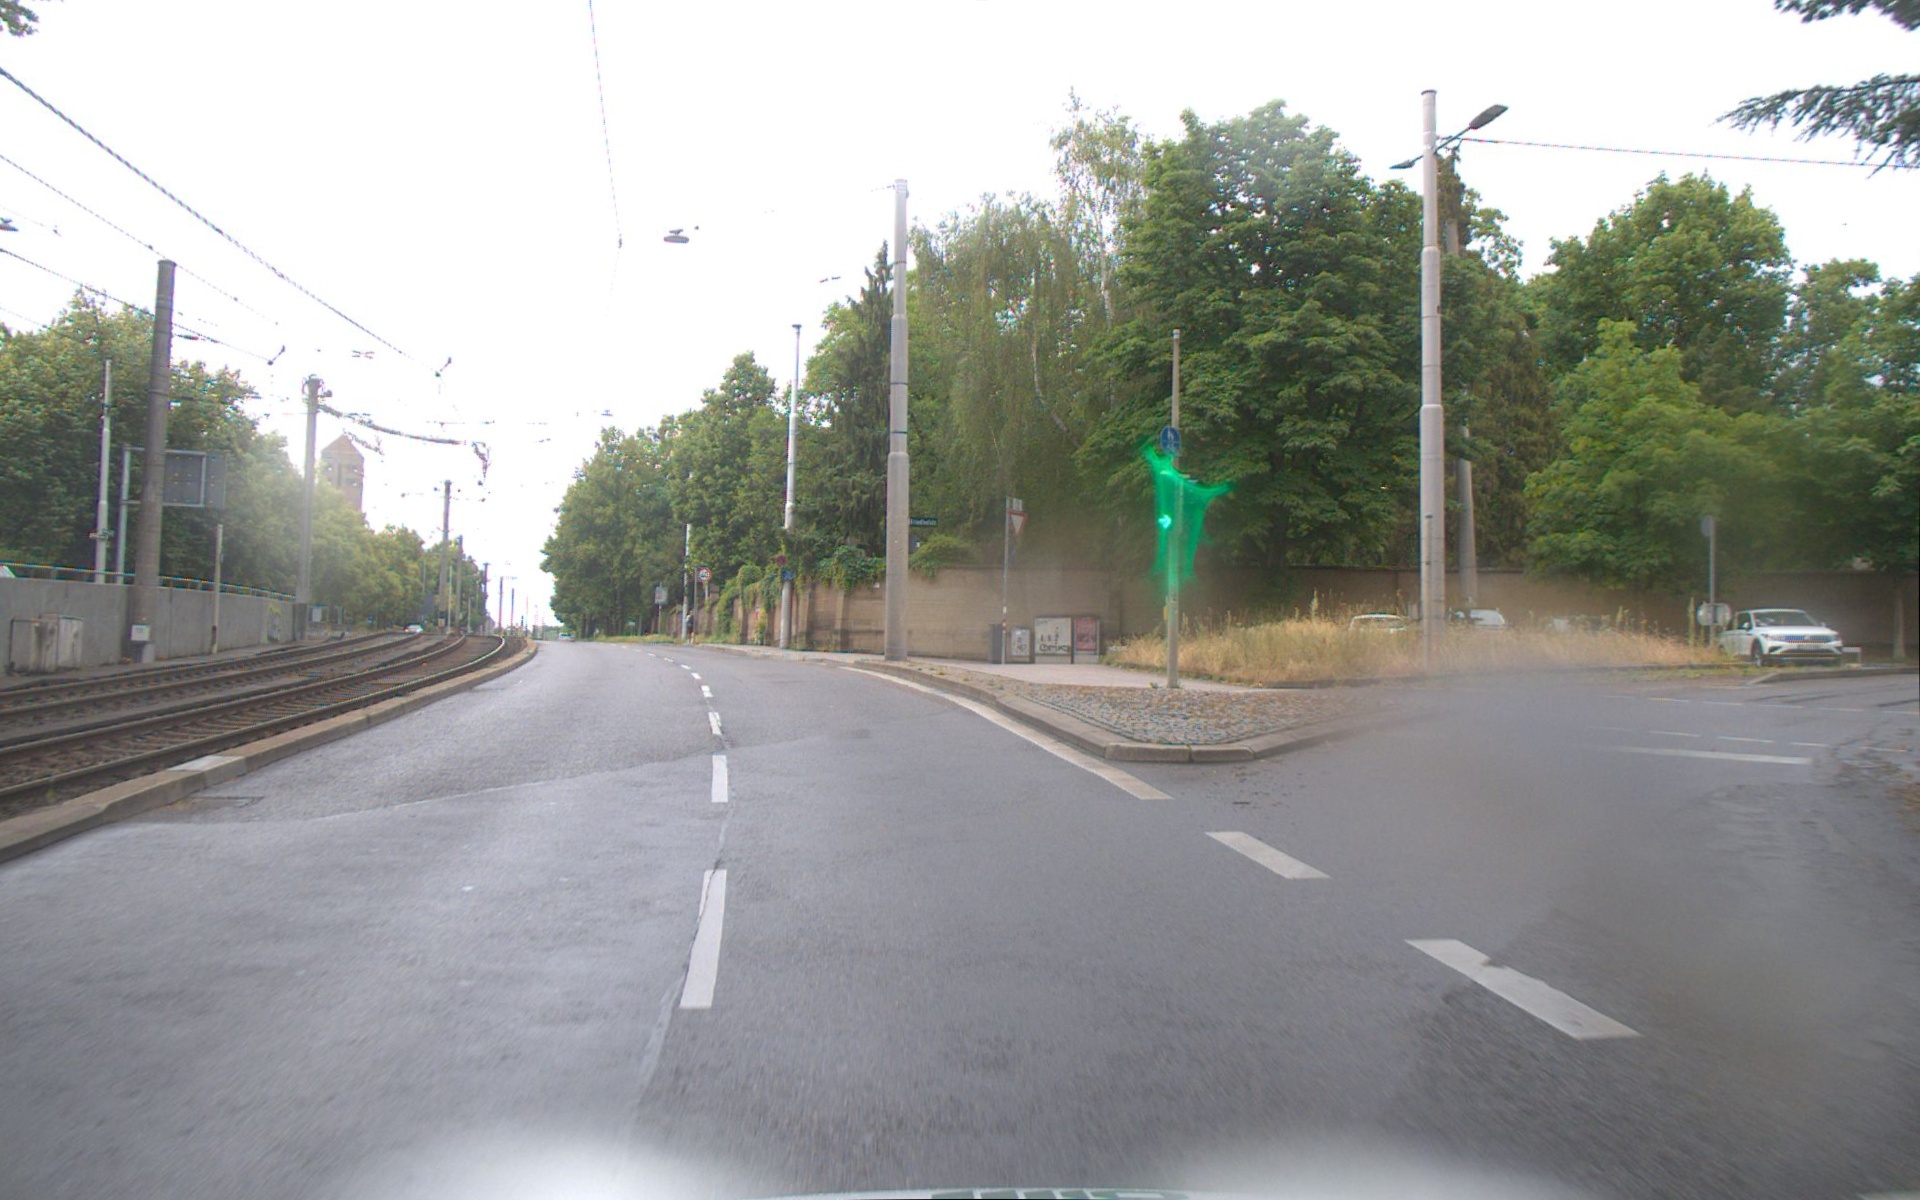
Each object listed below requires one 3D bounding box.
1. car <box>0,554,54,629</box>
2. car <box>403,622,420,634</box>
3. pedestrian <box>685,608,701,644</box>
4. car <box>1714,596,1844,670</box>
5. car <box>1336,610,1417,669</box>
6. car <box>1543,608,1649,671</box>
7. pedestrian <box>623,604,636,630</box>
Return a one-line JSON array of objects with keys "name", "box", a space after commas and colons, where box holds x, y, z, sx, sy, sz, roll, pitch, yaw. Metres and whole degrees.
[{"name": "car", "box": [-21.947, -0.225, 36.511, 1.760, 1.640, 4.353, 3, -1, -6]}, {"name": "car", "box": [-71.649, 3.636, 215.934, 1.764, 1.537, 3.834, 2, -1, -14]}, {"name": "pedestrian", "box": [-14.371, 1.395, 89.060, 0.708, 1.882, 0.780, 3, -2, -15]}, {"name": "car", "box": [19.985, 0.857, 40.531, 1.745, 1.584, 4.221, -1, -4, 11]}, {"name": "car", "box": [10.559, 1.032, 42.134, 1.715, 1.431, 4.003, 0, -2, 10]}, {"name": "car", "box": [15.568, 1.013, 40.674, 1.745, 1.416, 4.002, 0, -3, 11]}, {"name": "pedestrian", "box": [-22.262, 1.151, 111.439, 0.708, 1.717, 0.726, 3, -2, -15]}]
